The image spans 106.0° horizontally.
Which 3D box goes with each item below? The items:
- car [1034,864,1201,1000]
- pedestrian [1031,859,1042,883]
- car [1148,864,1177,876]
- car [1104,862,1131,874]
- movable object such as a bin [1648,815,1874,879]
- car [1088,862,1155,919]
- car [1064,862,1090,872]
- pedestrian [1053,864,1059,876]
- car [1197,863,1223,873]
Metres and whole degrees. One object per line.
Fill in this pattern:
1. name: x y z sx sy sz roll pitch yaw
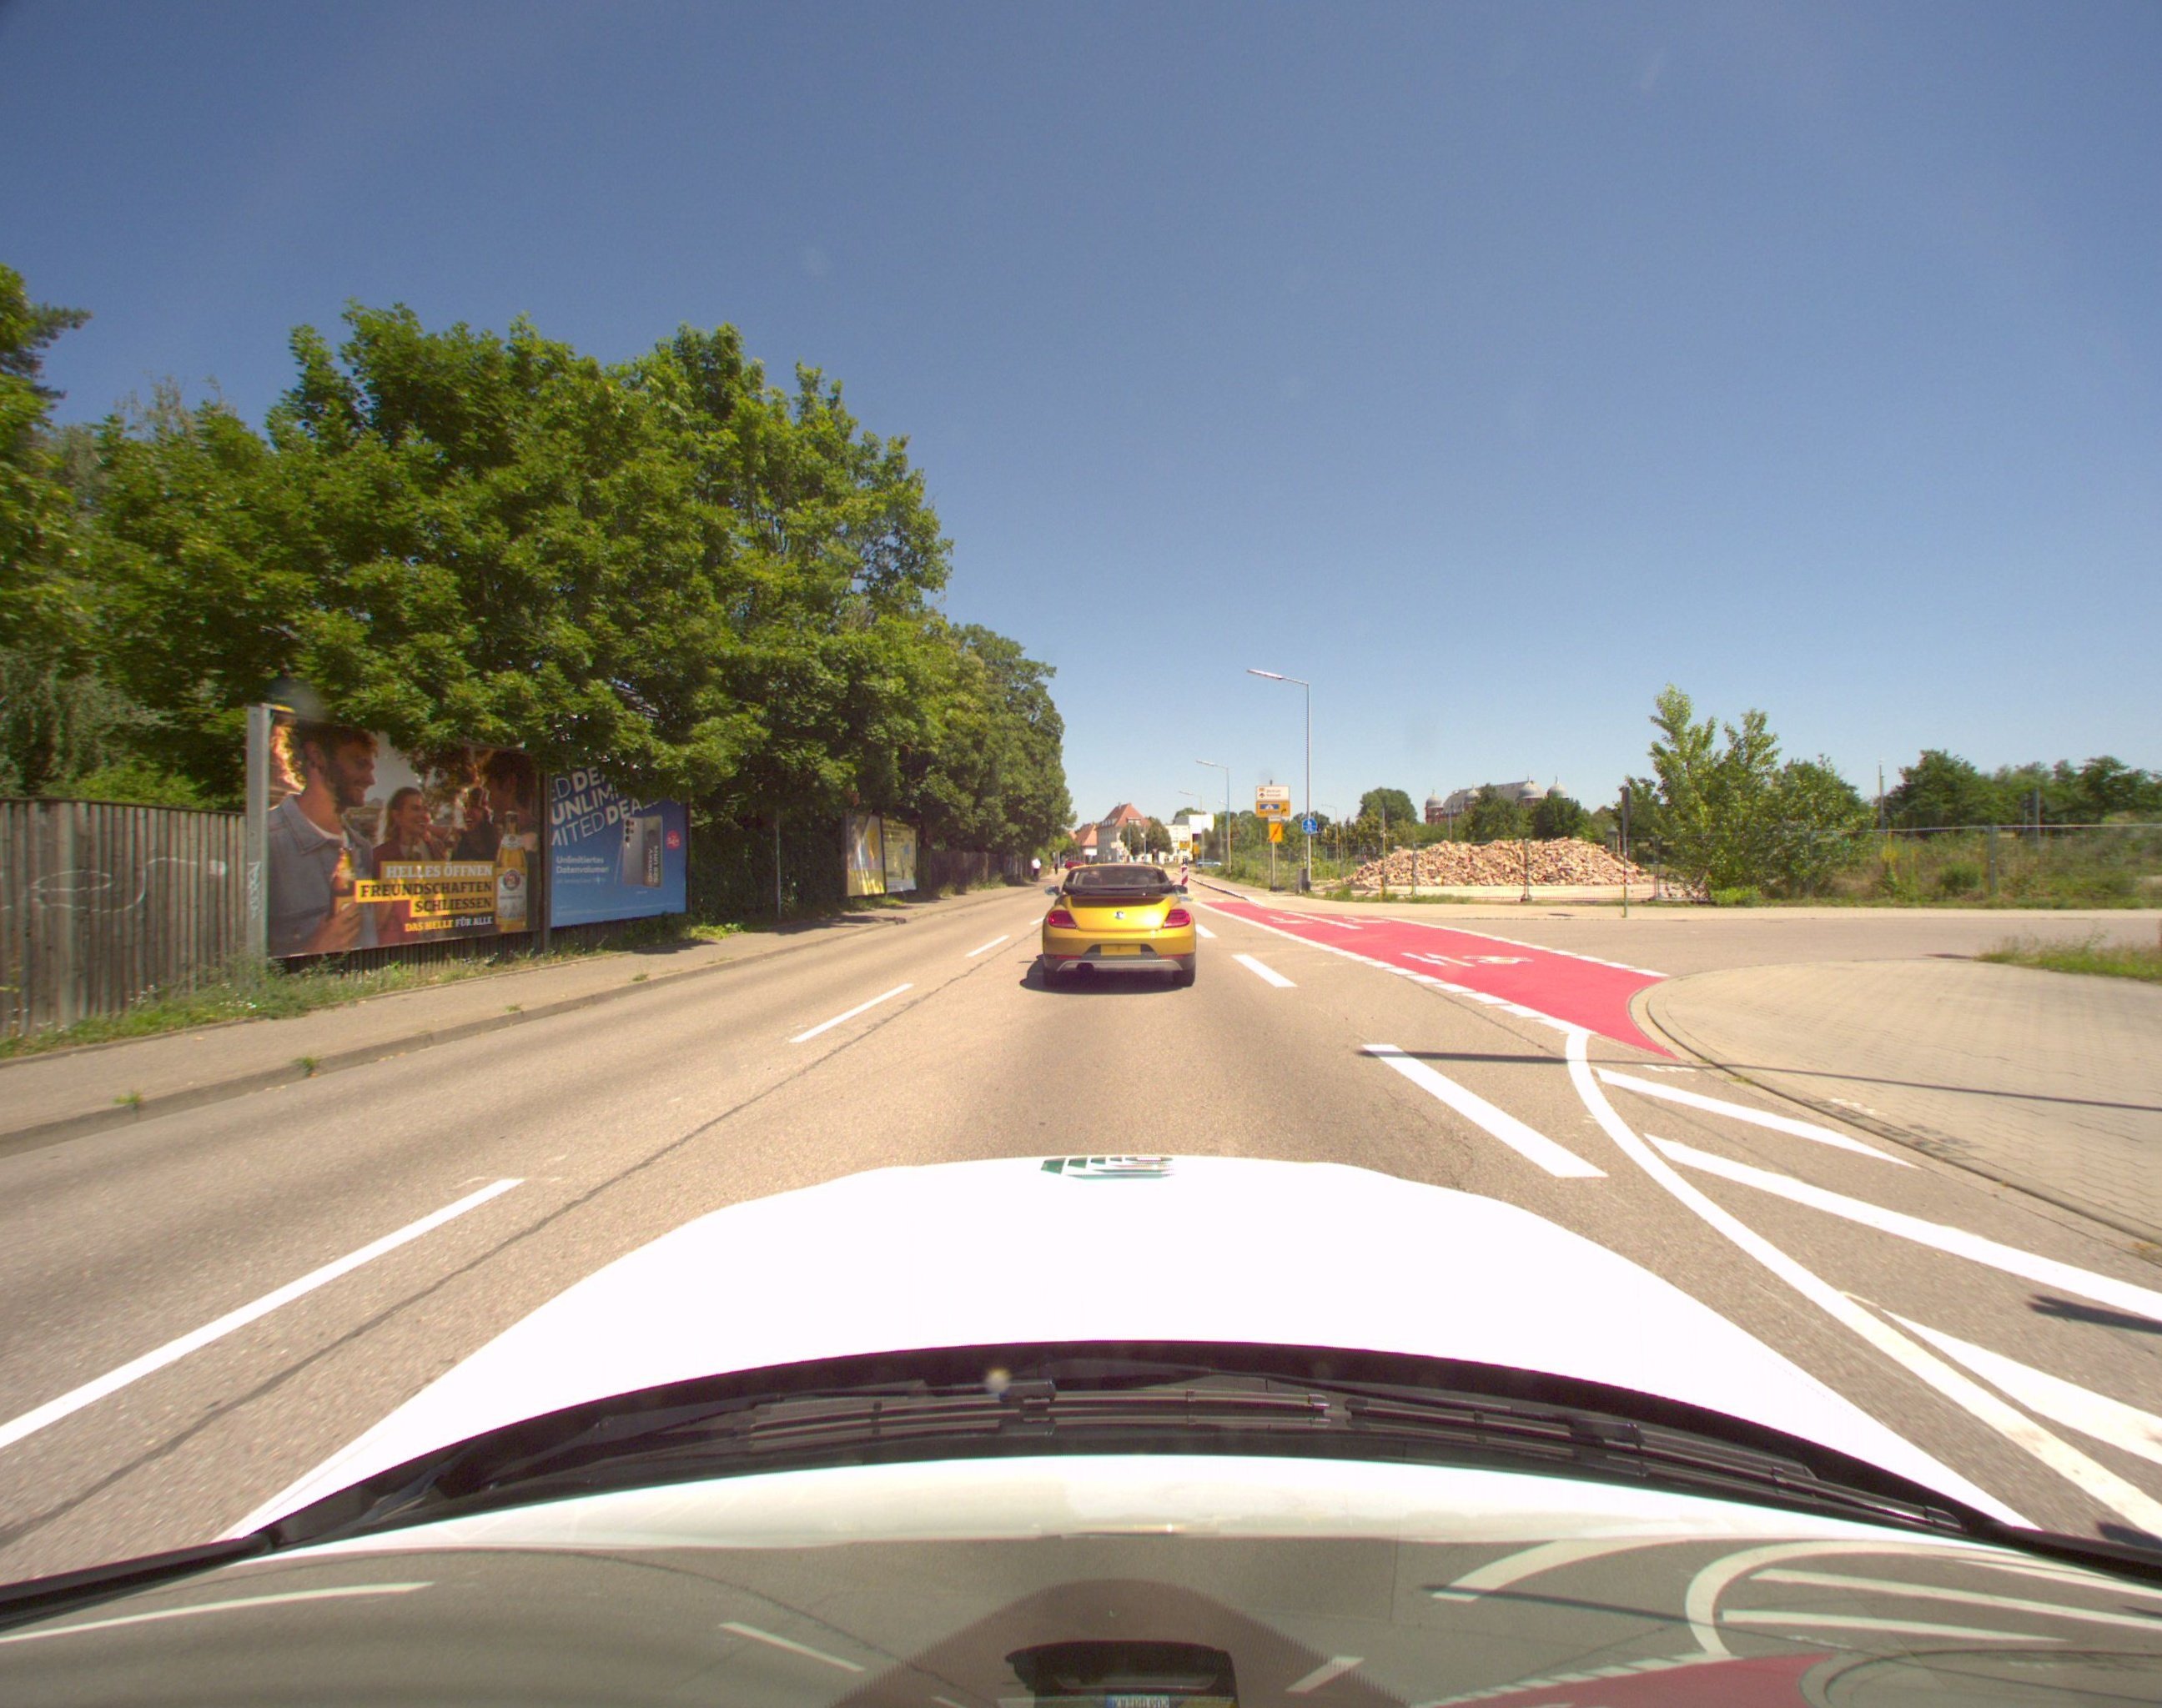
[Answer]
1. car: 0.489 0.875 10.767 1.783 1.437 3.816 -1 -1 3
2. pedestrian: -3.198 1.204 58.334 0.720 1.725 0.818 -1 -1 0
3. car: 12.237 2.401 122.113 3.958 1.613 1.797 -2 -1 14
4. car: 5.761 2.199 127.852 4.037 1.677 1.790 -1 -1 11
5. movable object such as a bin: 39.530 -0.307 48.214 4.919 3.260 10.476 -1 -1 3
6. car: 1.208 0.985 23.161 1.719 1.443 4.005 -1 -1 5
7. car: -0.635 2.153 138.270 4.032 1.677 1.792 -1 -1 17
8. pedestrian: -2.950 1.919 96.720 0.720 1.454 0.818 -1 -1 0
9. car: 20.418 2.211 128.767 3.961 1.553 1.998 0 0 11
